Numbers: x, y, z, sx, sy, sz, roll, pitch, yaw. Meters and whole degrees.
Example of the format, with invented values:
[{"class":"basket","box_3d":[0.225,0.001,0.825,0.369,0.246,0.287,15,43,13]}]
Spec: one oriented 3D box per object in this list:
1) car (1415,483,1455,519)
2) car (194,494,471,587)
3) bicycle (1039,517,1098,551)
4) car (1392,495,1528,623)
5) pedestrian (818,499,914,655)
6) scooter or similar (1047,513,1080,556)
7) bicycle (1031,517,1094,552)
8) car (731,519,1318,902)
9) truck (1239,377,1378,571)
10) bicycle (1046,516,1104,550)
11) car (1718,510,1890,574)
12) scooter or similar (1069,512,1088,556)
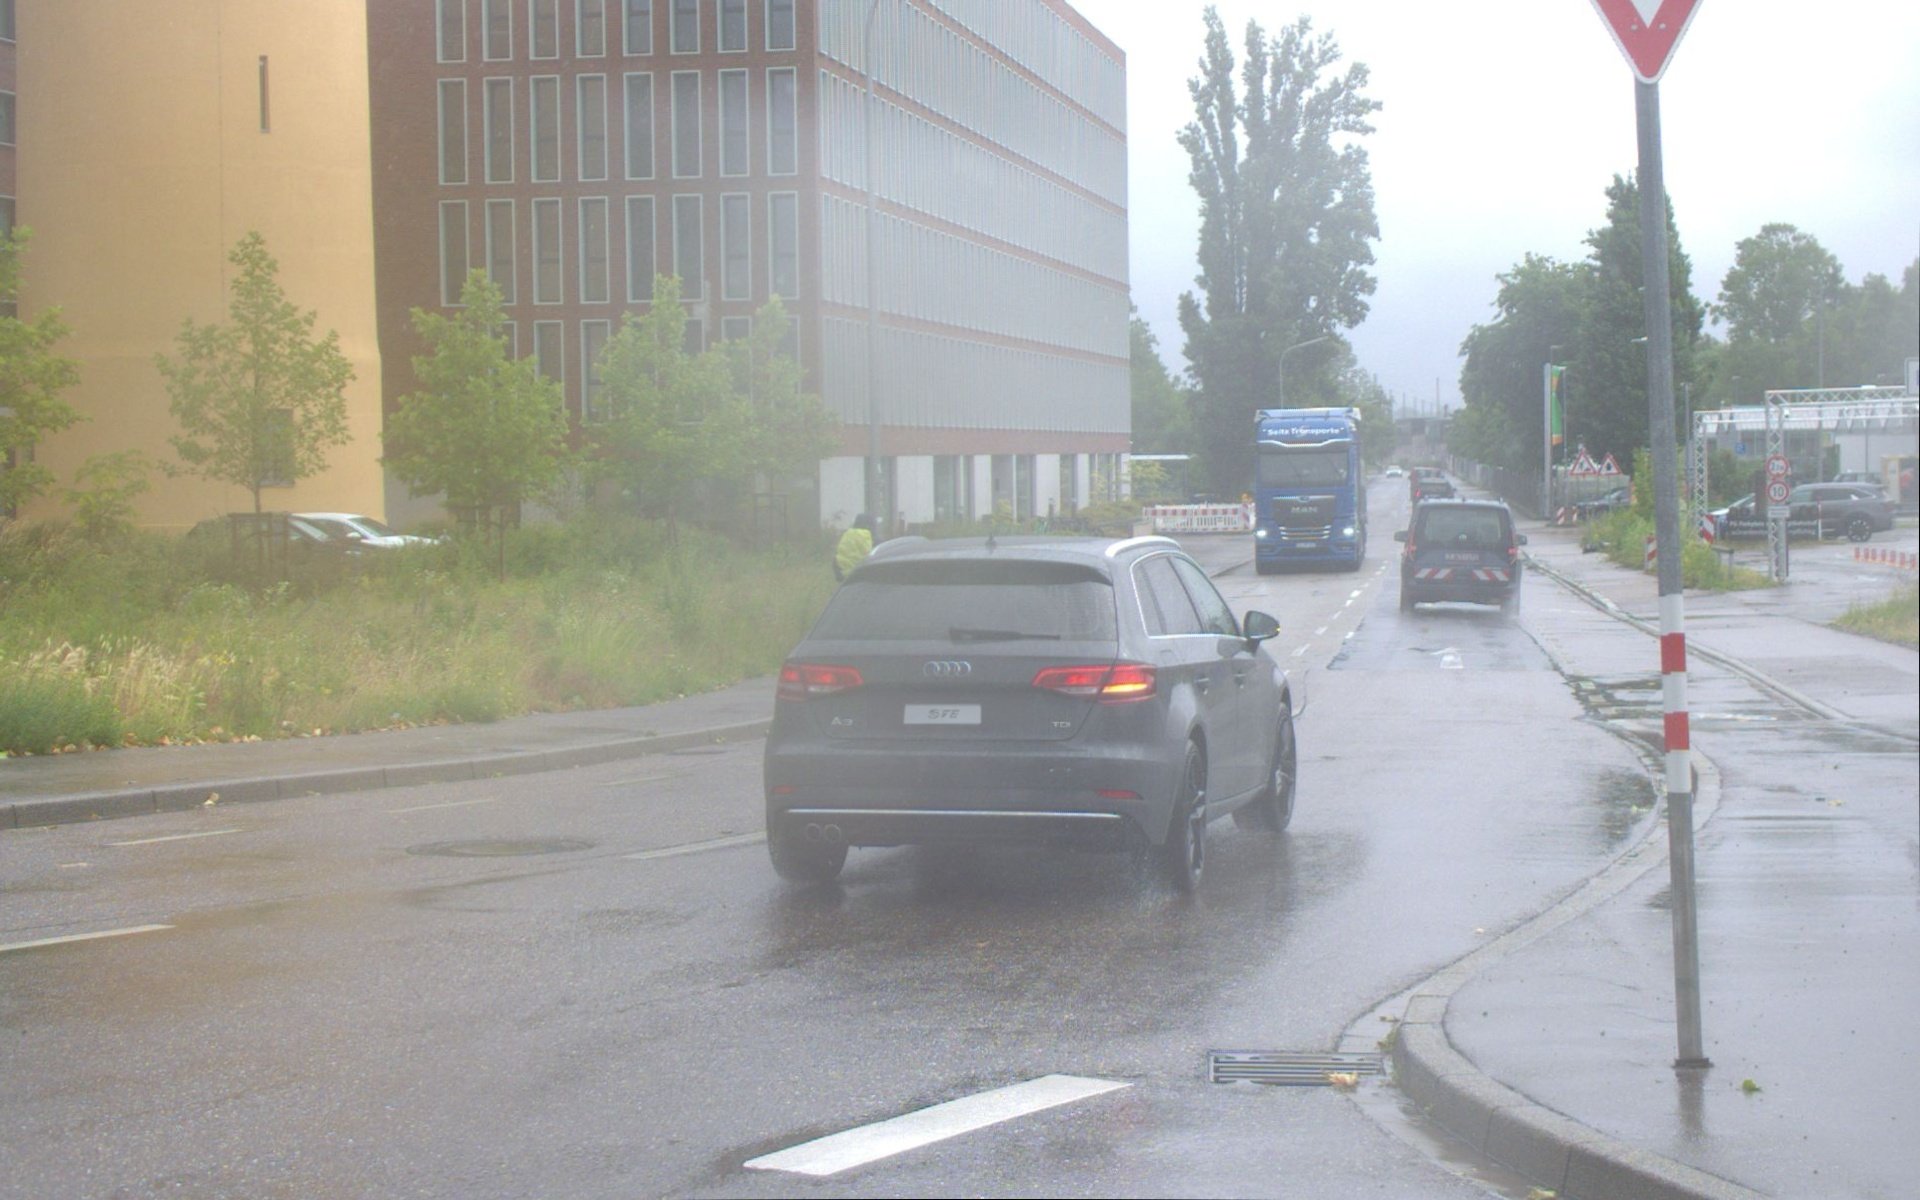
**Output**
[{"class":"car","box_3d":[22.876,-4.750,165.426,1.731,1.681,3.896,0,1,10]},{"class":"car","box_3d":[-11.244,-1.076,61.789,4.522,1.635,2.000,0,1,5]},{"class":"bicycle","box_3d":[3.541,-2.162,112.567,1.860,1.073,0.544,2,2,7]},{"class":"car","box_3d":[7.773,-0.667,53.728,1.994,1.904,4.200,0,1,7]},{"class":"pedestrian","box_3d":[-1.035,-0.264,38.201,0.909,1.712,1.026,0,1,8]},{"class":"scooter or similar","box_3d":[2.996,-1.912,99.409,0.466,1.226,1.321,-1,2,-21]},{"class":"bicycle","box_3d":[3.323,-2.127,111.031,1.949,1.073,0.620,2,2,7]},{"class":"car","box_3d":[0.449,0.370,15.409,1.895,1.451,4.225,1,2,11]},{"class":"truck","box_3d":[8.721,-3.109,85.810,3.295,4.638,6.032,0,1,6]},{"class":"bicycle","box_3d":[3.826,-2.242,114.253,1.860,1.073,0.544,2,2,7]},{"class":"car","box_3d":[24.049,-1.641,98.136,4.683,1.729,2.127,-1,0,13]},{"class":"scooter or similar","box_3d":[3.375,-1.891,98.012,0.466,1.226,1.321,-1,2,5]}]
